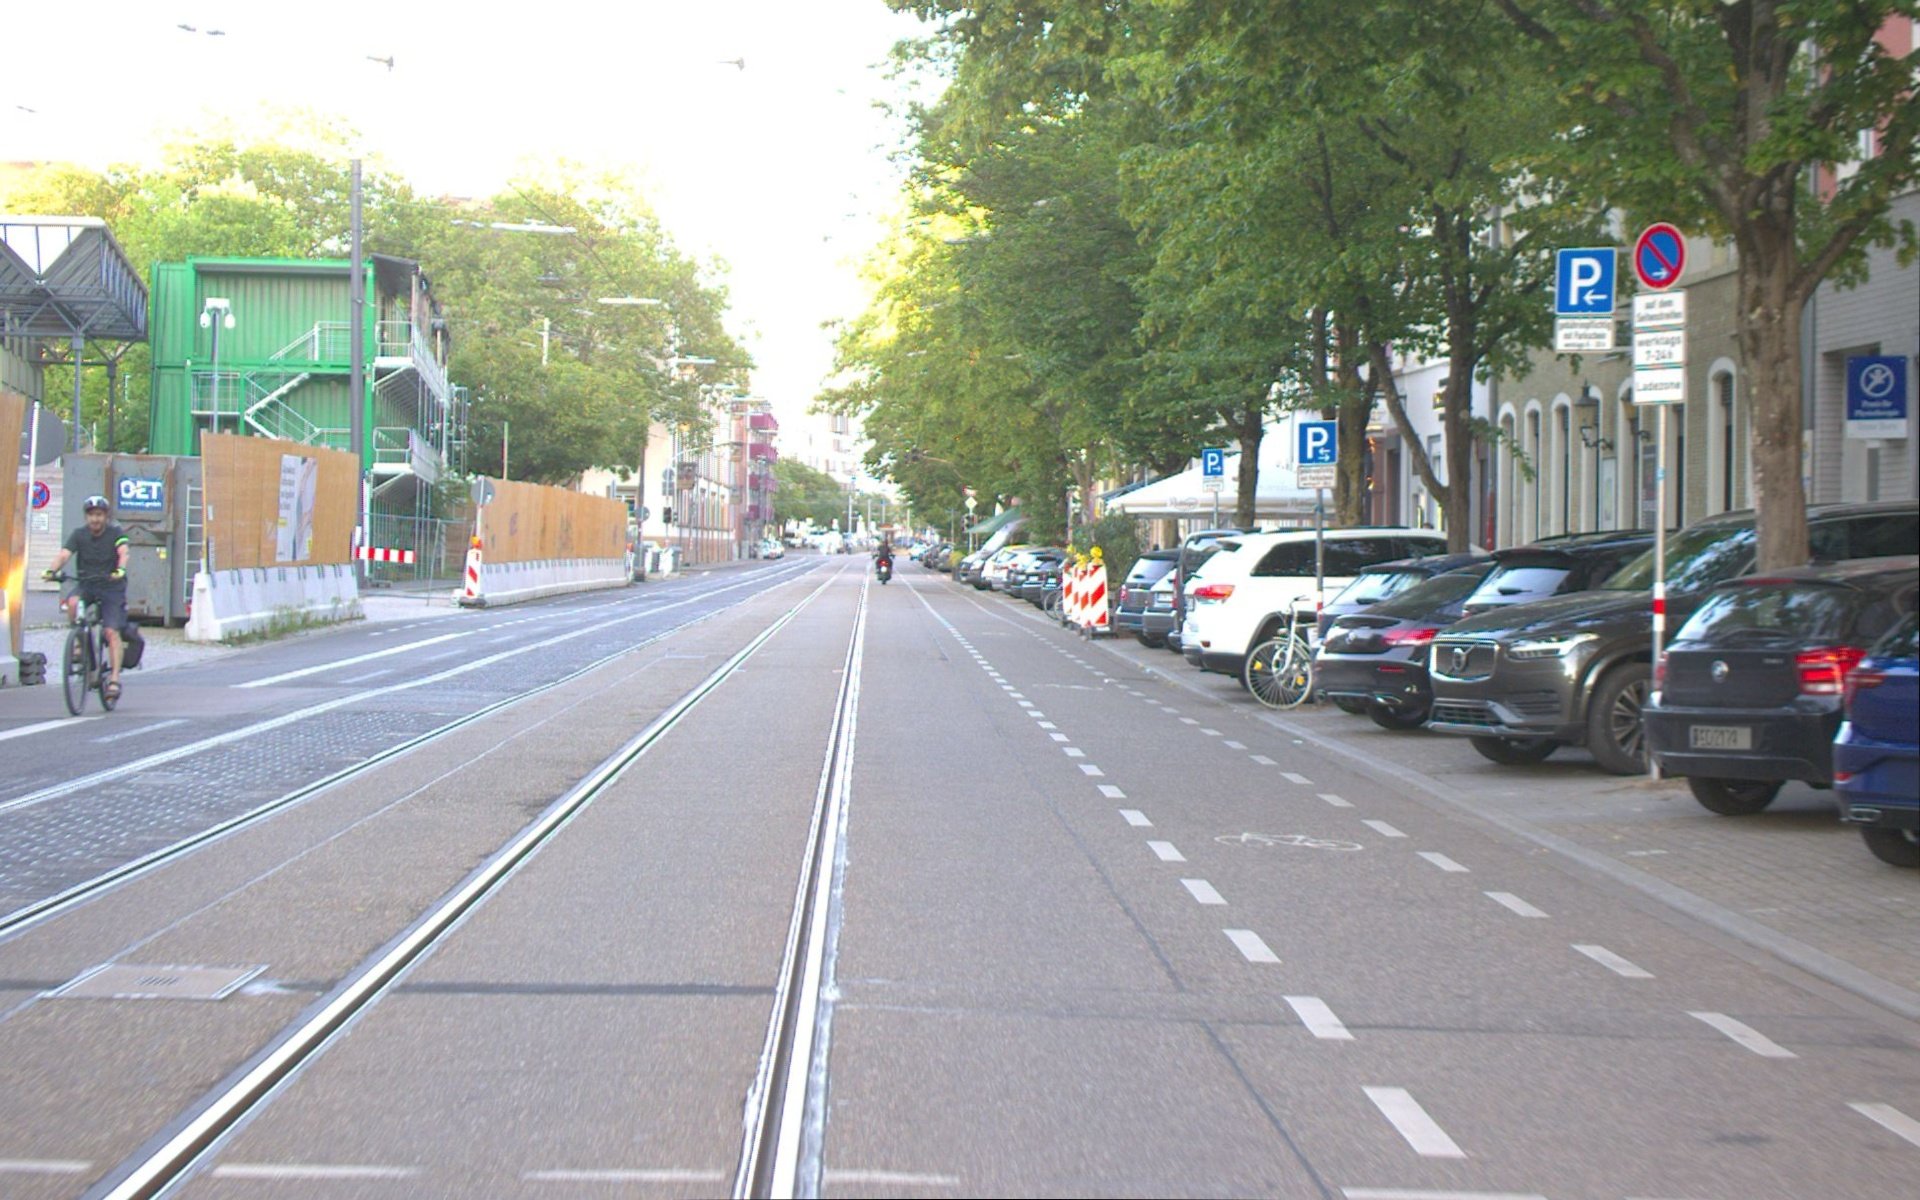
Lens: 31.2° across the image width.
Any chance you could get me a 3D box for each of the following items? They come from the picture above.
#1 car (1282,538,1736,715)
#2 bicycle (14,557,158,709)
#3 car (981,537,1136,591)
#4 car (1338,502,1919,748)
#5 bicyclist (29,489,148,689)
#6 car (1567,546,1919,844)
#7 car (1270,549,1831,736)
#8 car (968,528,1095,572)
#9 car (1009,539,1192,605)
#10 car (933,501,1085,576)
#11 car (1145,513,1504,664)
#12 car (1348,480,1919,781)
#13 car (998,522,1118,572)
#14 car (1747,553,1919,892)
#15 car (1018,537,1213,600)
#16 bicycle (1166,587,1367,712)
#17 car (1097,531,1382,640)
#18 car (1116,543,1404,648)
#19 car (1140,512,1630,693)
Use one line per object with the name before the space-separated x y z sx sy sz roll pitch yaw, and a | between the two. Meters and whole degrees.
car | 5.030 0.210 31.484 3.746 1.421 1.728 -3 2 -26
bicycle | -7.394 0.257 29.172 0.768 1.224 1.936 1 1 -2
car | 2.935 -1.076 102.635 4.249 1.543 2.020 -1 1 -12
car | 5.252 0.142 26.243 4.211 1.643 1.977 -2 1 -19
bicyclist | -7.380 -0.104 29.147 0.768 1.660 1.018 1 1 -2
car | 5.734 0.434 19.515 4.154 1.460 1.972 -3 2 -29
car | 4.924 0.310 28.694 4.211 1.422 1.976 -1 1 -23
car | 2.493 -1.735 119.854 3.949 1.481 1.921 -1 0 -25
car | 3.483 -0.710 85.231 4.115 1.465 1.824 -2 1 -19
car | 1.777 -2.222 124.661 5.093 2.633 2.022 -1 1 -18
car | 4.675 -0.172 43.971 4.147 1.800 2.008 -2 1 -29
car | 5.427 0.128 23.661 4.962 1.820 2.209 -2 1 -19
car | 3.298 -1.781 116.065 3.950 1.614 1.921 -1 0 -1
car | 5.889 0.488 16.595 3.882 1.497 1.813 -3 2 -32
car | 3.624 -0.733 80.354 4.160 1.421 1.824 0 1 -20
bicycle | 2.958 0.470 33.148 1.835 1.099 0.498 -2 2 -15
car | 4.231 -0.238 51.984 3.961 1.548 1.706 -1 1 -26
car | 4.314 -0.086 49.410 3.772 1.403 1.706 -1 1 -26
car | 4.301 -0.001 35.293 4.648 1.682 2.008 -2 1 -4
